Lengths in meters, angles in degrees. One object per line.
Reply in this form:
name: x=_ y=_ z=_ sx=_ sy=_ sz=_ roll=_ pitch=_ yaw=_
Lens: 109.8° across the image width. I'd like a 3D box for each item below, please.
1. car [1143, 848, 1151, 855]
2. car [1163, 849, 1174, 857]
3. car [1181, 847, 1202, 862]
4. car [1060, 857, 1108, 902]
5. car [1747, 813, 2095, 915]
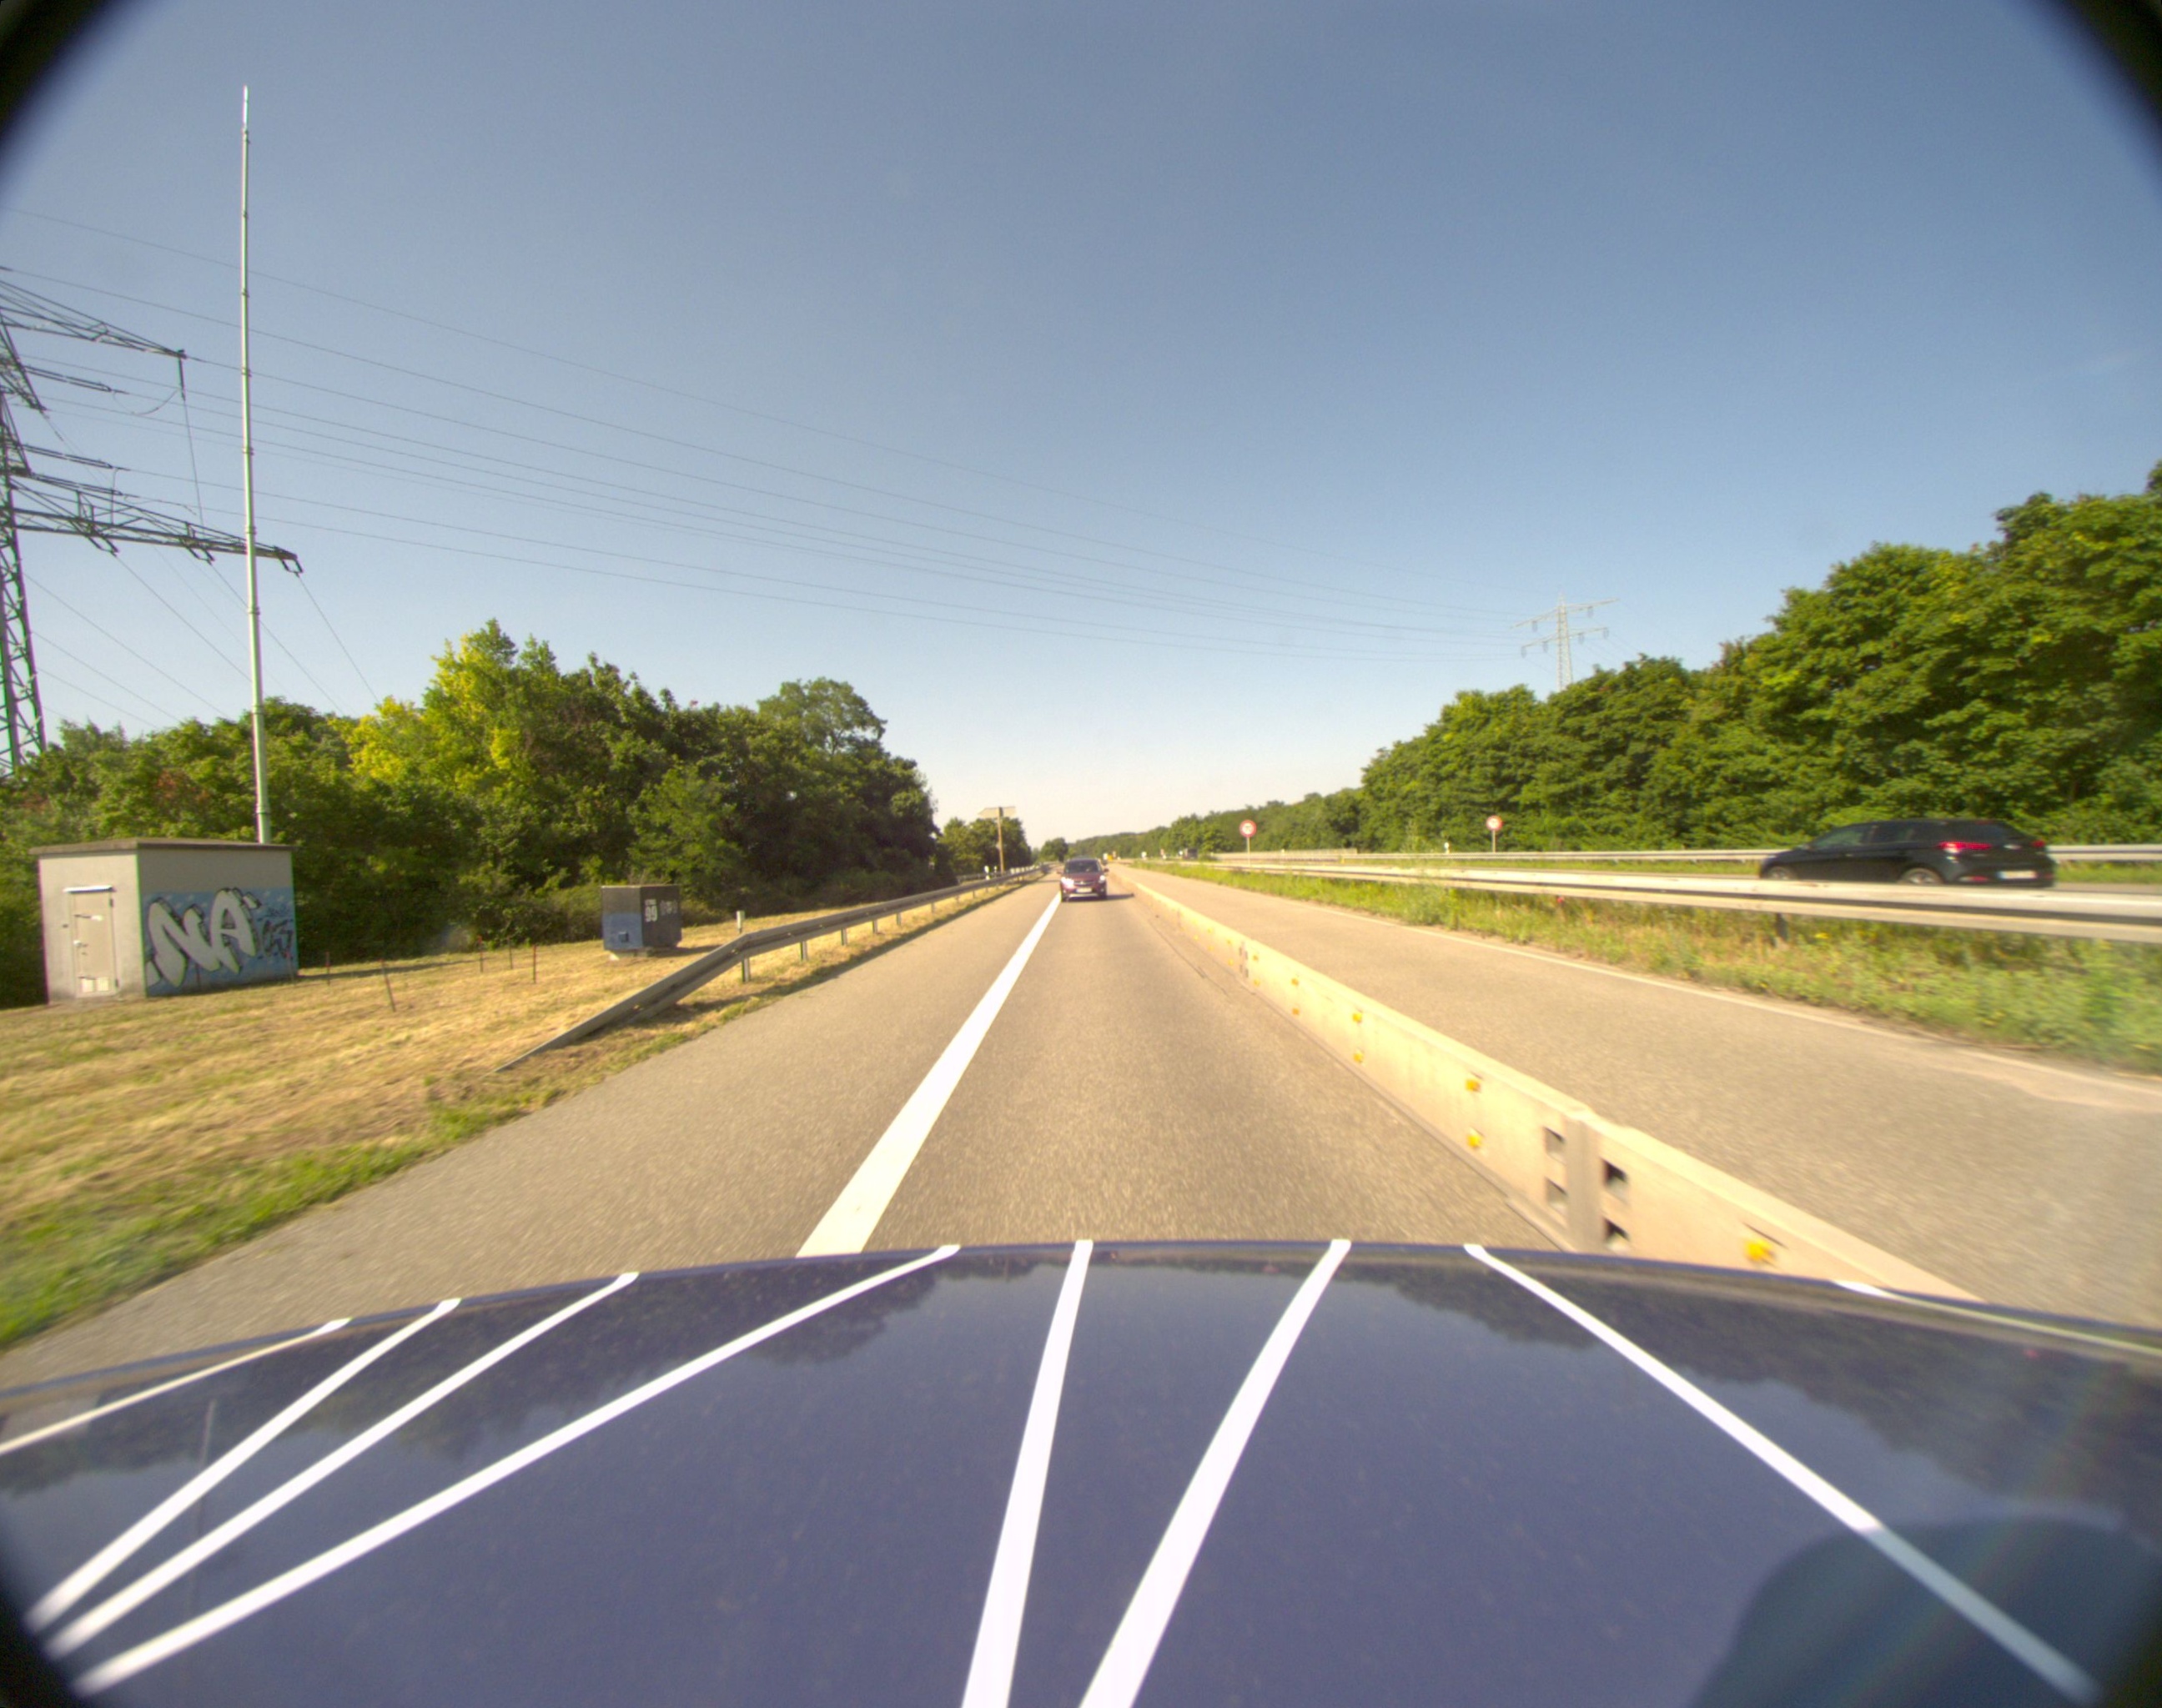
car: x=16.446 y=-0.609 z=189.259 sx=1.767 sy=1.574 sz=4.422 roll=-2 pitch=0 yaw=1
car: x=16.361 y=-0.220 z=142.640 sx=1.651 sy=1.522 sz=3.818 roll=-2 pitch=0 yaw=0
car: x=15.622 y=0.109 z=107.907 sx=1.999 sy=2.022 sz=5.167 roll=-2 pitch=0 yaw=-1
car: x=0.171 y=0.879 z=27.942 sx=1.587 sy=1.491 sz=4.416 roll=-2 pitch=0 yaw=2
car: x=14.814 y=0.150 z=13.826 sx=1.743 sy=1.485 sz=4.109 roll=-3 pitch=0 yaw=0
